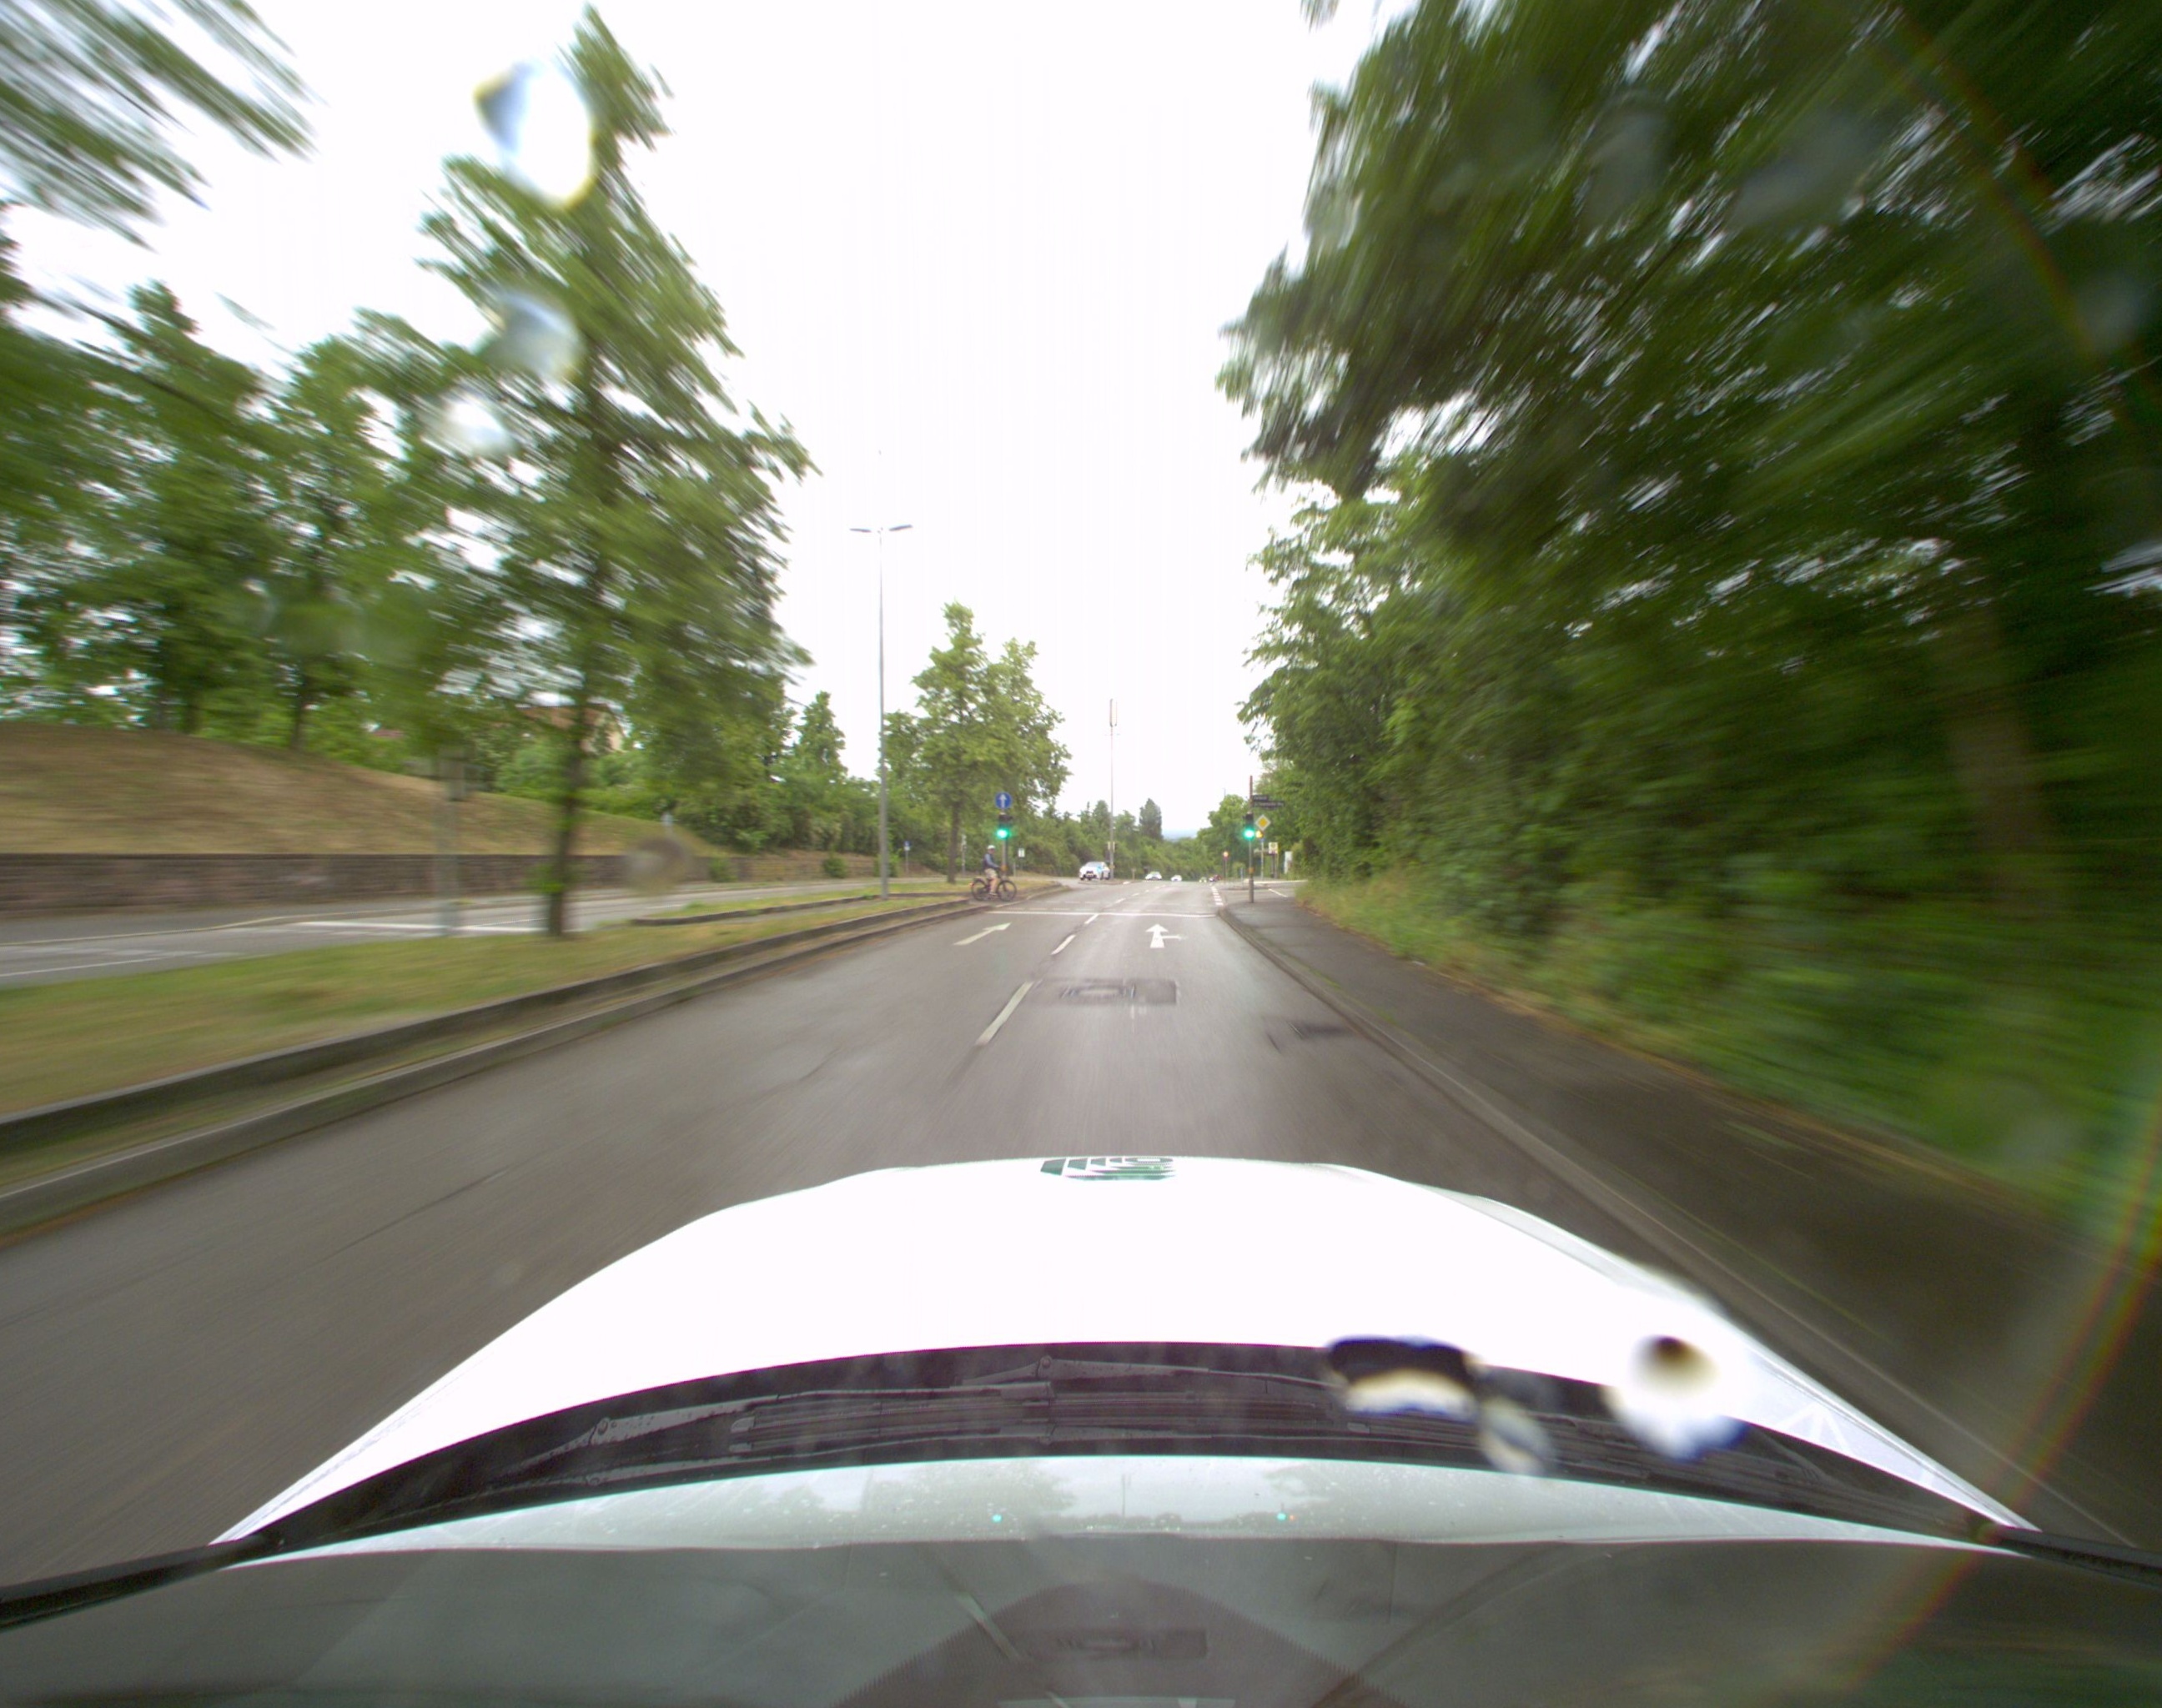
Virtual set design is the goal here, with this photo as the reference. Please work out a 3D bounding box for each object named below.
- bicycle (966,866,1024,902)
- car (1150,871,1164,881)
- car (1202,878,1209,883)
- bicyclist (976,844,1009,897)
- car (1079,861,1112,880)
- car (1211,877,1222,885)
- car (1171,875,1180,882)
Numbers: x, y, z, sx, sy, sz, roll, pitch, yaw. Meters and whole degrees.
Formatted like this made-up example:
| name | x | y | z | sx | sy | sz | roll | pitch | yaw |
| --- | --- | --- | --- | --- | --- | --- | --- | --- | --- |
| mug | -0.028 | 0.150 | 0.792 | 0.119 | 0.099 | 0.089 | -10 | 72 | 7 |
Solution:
| name | x | y | z | sx | sy | sz | roll | pitch | yaw |
| --- | --- | --- | --- | --- | --- | --- | --- | --- | --- |
| bicycle | -2.891 | 0.992 | 27.542 | 0.547 | 1.143 | 2.153 | 0 | -1 | 42 |
| car | 11.508 | 3.392 | 123.247 | 1.767 | 1.472 | 4.658 | 0 | -2 | 11 |
| car | 34.992 | 7.439 | 228.316 | 1.714 | 1.566 | 3.903 | 2 | -2 | 10 |
| bicyclist | -3.010 | 0.565 | 27.612 | 0.716 | 1.752 | 0.806 | -4 | -4 | 42 |
| car | 1.381 | 1.514 | 73.580 | 1.931 | 1.636 | 5.022 | 0 | -1 | 13 |
| car | 28.401 | 5.693 | 170.495 | 1.930 | 1.591 | 3.944 | 0 | -1 | 16 |
| car | 20.952 | 5.440 | 180.532 | 1.712 | 1.591 | 4.013 | 0 | -1 | 12 |
